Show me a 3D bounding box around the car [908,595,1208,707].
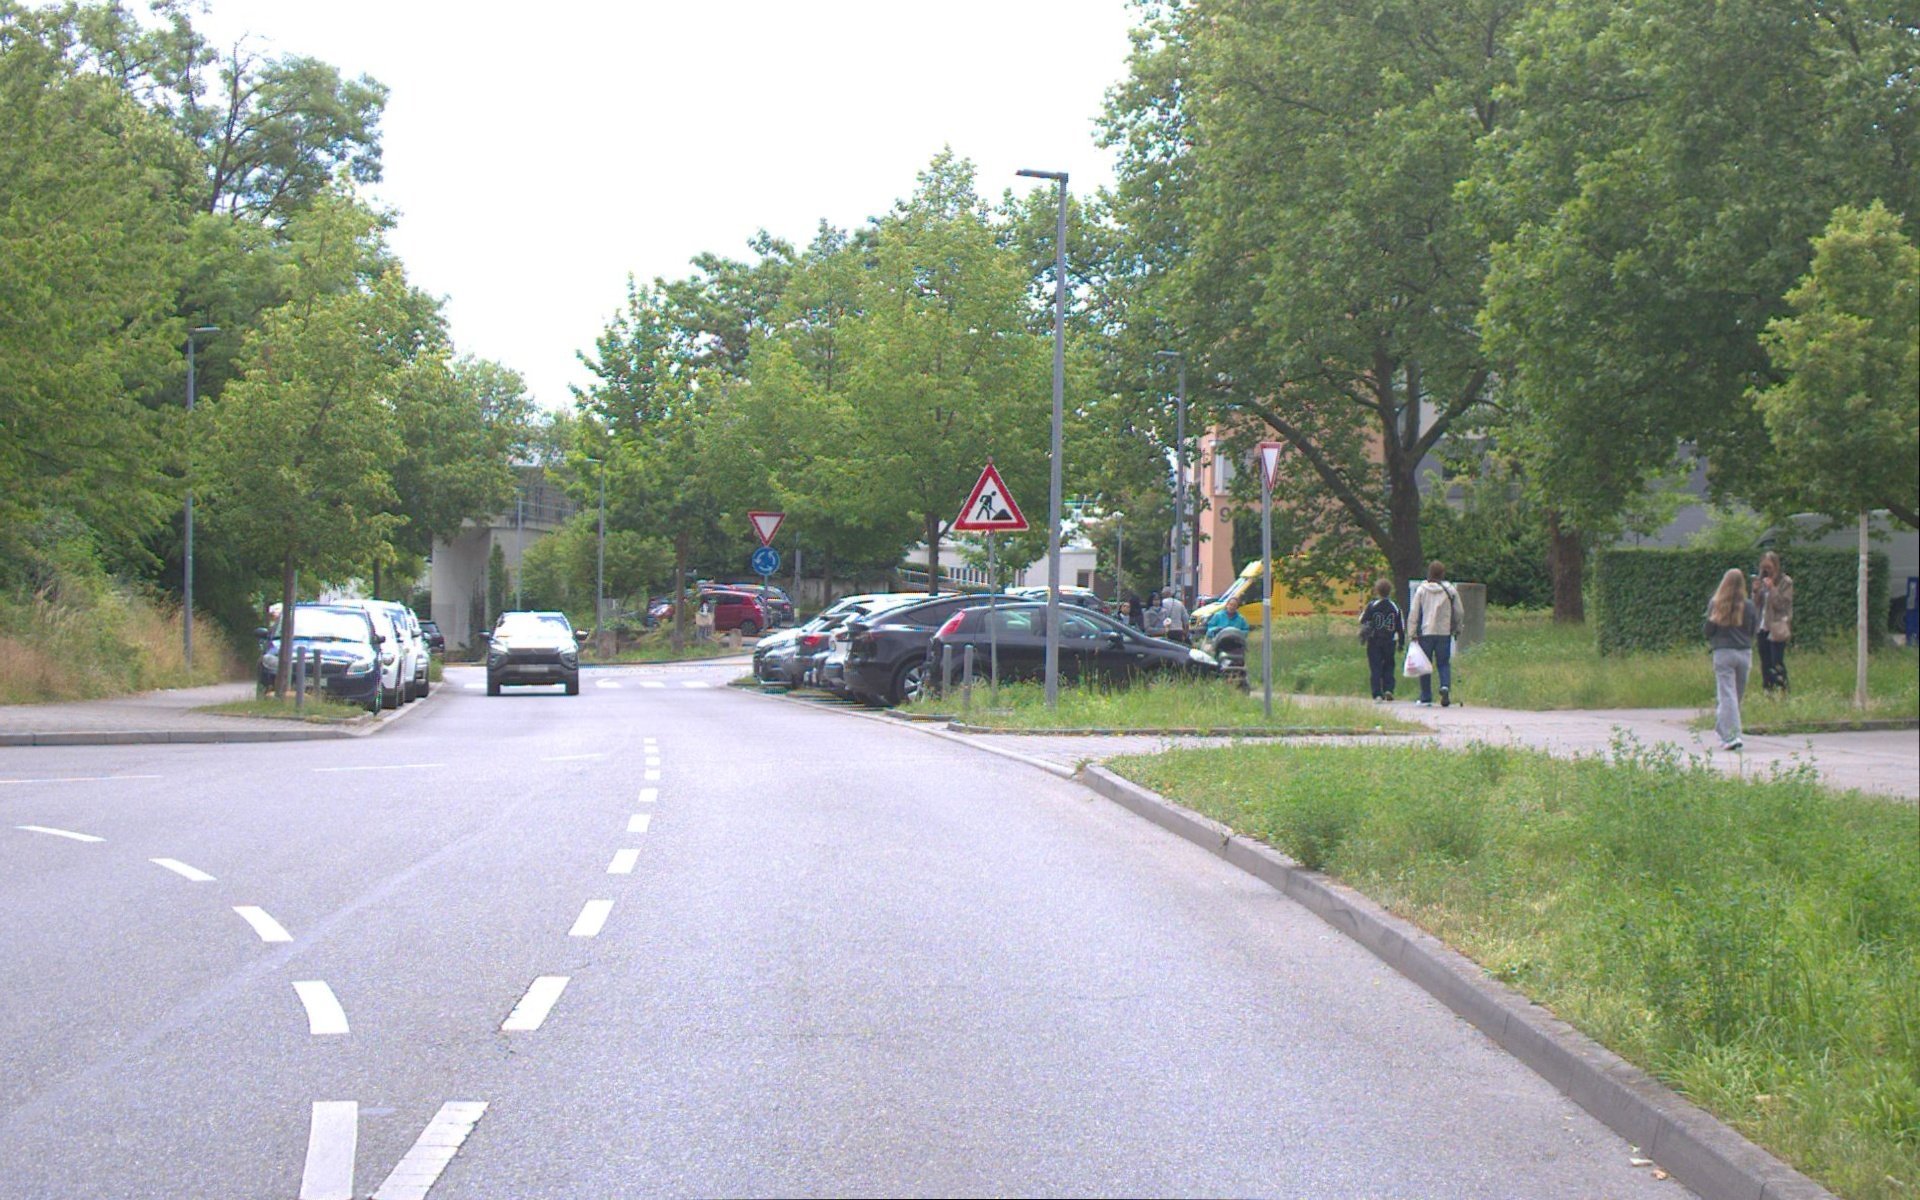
[{"bbox_3d":[1.267,0.694,45.822,3.921,1.463,1.771,0,-2,-1],"label":"car"}]

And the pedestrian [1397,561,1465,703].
[{"bbox_3d":[5.874,0.391,42.894,0.801,1.716,0.823,1,2,8],"label":"pedestrian"}]

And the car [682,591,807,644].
[{"bbox_3d":[-6.711,0.547,107.171,3.539,1.558,1.622,1,0,-21],"label":"car"}]

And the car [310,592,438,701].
[{"bbox_3d":[-9.877,0.756,58.154,1.765,1.747,3.935,0,1,-4],"label":"car"}]

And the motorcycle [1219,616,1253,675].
[{"bbox_3d":[4.024,0.659,50.099,0.453,0.791,1.263,0,2,7],"label":"motorcycle"}]

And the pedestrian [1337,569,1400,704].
[{"bbox_3d":[5.368,0.473,45.184,0.774,1.716,0.823,1,2,8],"label":"pedestrian"}]

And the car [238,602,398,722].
[{"bbox_3d":[-8.828,0.820,47.527,1.765,1.495,3.936,0,1,-4],"label":"car"}]

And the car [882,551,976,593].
[{"bbox_3d":[-1.285,-1.178,143.537,3.539,1.648,1.622,1,0,-21],"label":"car"}]

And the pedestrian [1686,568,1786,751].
[{"bbox_3d":[6.970,0.522,30.915,0.774,1.590,0.823,1,2,7],"label":"pedestrian"}]

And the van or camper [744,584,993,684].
[{"bbox_3d":[-1.814,0.645,67.349,4.671,1.863,1.772,0,2,-9],"label":"van or camper"}]

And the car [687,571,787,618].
[{"bbox_3d":[-8.341,-0.209,128.701,3.540,1.648,1.621,1,0,2],"label":"car"}]

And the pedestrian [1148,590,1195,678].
[{"bbox_3d":[3.500,0.558,57.024,0.690,1.419,0.753,1,0,-1],"label":"pedestrian"}]

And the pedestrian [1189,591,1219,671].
[{"bbox_3d":[3.577,0.447,50.452,0.396,1.148,0.485,1,2,8],"label":"pedestrian"}]

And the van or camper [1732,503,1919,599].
[{"bbox_3d":[18.677,-1.033,71.795,4.680,1.907,1.769,2,3,28],"label":"van or camper"}]

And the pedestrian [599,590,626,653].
[{"bbox_3d":[-10.432,0.652,103.238,0.721,1.858,0.651,0,2,-12],"label":"pedestrian"}]

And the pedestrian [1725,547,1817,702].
[{"bbox_3d":[9.178,0.265,38.899,0.776,1.688,0.822,2,3,31],"label":"pedestrian"}]

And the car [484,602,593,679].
[{"bbox_3d":[-8.320,0.776,68.129,1.974,1.458,3.935,0,0,-4],"label":"car"}]

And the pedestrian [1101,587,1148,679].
[{"bbox_3d":[2.728,0.537,57.012,0.690,1.499,0.753,1,0,-1],"label":"pedestrian"}]

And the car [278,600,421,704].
[{"bbox_3d":[-9.289,0.769,52.555,1.765,1.495,3.935,0,1,-4],"label":"car"}]

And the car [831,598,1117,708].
[{"bbox_3d":[0.177,0.760,48.043,3.921,1.495,1.771,0,-2,-1],"label":"car"}]

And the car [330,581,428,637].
[{"bbox_3d":[-14.559,0.227,86.087,1.200,1.332,2.605,1,1,-42],"label":"car"}]

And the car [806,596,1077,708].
[{"bbox_3d":[-0.281,0.781,50.764,3.921,1.625,1.771,0,-2,-1],"label":"car"}]

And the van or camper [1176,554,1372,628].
[{"bbox_3d":[8.979,-0.272,98.526,5.291,2.034,2.061,0,2,-5],"label":"van or camper"}]

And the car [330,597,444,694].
[{"bbox_3d":[-10.629,0.815,63.942,1.737,1.705,4.082,0,0,-4],"label":"car"}]

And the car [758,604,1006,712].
[{"bbox_3d":[-1.248,0.928,55.434,3.921,1.624,1.772,0,2,-1],"label":"car"}]

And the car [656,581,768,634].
[{"bbox_3d":[-8.216,0.245,113.750,3.539,1.648,1.622,1,0,-9],"label":"car"}]
